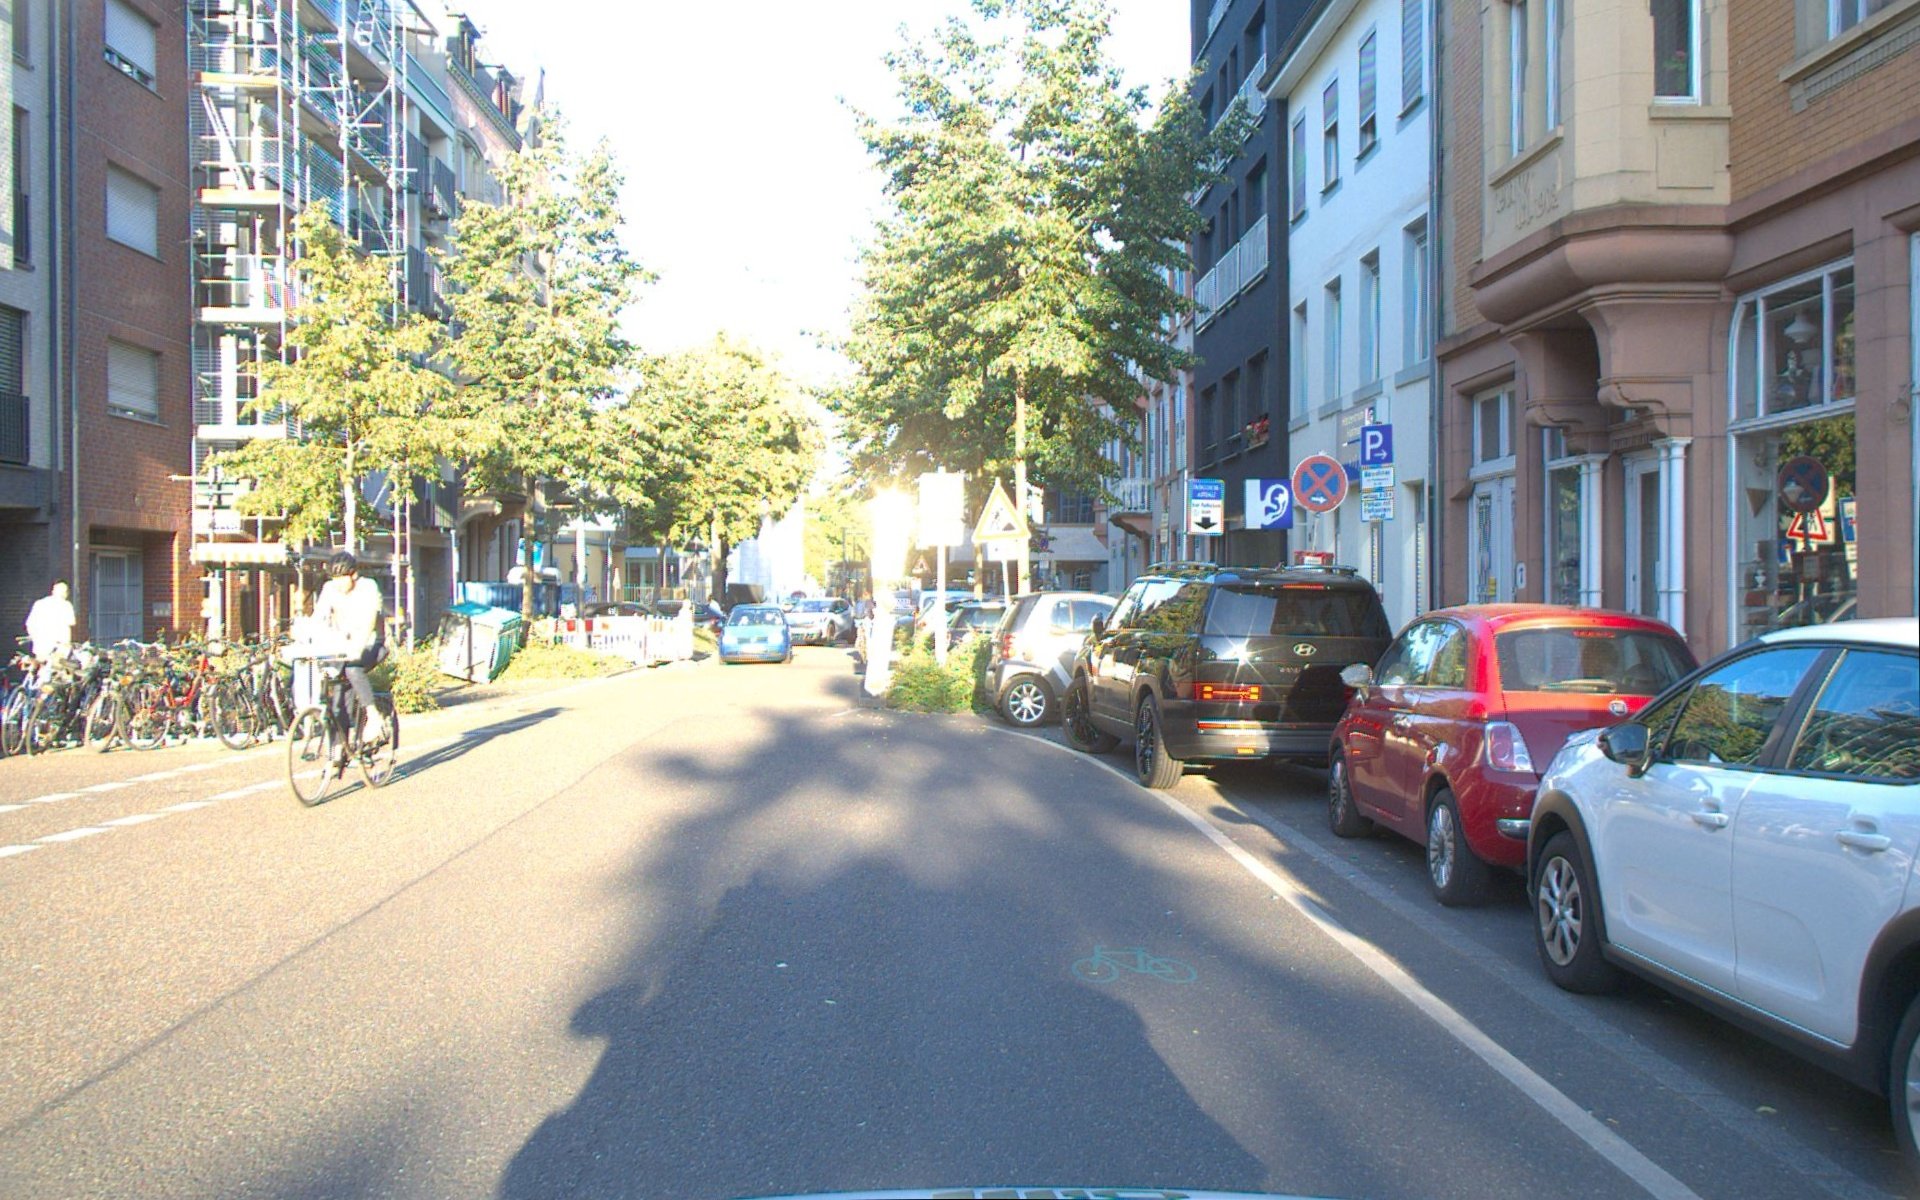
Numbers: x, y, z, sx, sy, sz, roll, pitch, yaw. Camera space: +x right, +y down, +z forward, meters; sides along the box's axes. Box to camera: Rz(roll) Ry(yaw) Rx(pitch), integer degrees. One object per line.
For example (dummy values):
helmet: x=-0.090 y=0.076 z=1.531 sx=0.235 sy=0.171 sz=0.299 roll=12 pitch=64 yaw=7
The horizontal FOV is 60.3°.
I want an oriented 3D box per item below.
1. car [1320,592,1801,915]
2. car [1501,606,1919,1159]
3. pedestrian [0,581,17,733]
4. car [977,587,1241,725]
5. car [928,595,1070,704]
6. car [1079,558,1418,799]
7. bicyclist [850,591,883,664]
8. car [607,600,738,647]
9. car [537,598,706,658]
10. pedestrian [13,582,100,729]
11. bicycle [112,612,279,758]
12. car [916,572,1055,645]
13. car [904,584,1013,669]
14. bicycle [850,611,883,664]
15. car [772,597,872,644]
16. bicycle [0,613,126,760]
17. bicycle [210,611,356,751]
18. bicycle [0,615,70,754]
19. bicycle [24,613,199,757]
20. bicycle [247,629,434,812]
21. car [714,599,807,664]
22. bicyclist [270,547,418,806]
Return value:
car: x=3.212 y=0.740 z=9.488 sx=1.555 sy=1.509 sz=3.266 roll=1 pitch=0 yaw=0
car: x=3.231 y=0.736 z=5.340 sx=1.633 sy=1.402 sz=3.801 roll=1 pitch=0 yaw=-2
pedestrian: x=-11.660 y=0.669 z=19.505 sx=0.703 sy=1.798 sz=0.692 roll=1 pitch=-1 yaw=-10
car: x=1.743 y=0.657 z=19.794 sx=2.911 sy=1.563 sz=1.431 roll=1 pitch=-1 yaw=-6
car: x=0.582 y=0.802 z=28.542 sx=1.955 sy=1.697 sz=4.504 roll=1 pitch=0 yaw=-5
car: x=2.258 y=0.586 z=14.175 sx=1.789 sy=1.725 sz=4.364 roll=1 pitch=0 yaw=-5
bicyclist: x=-2.274 y=0.656 z=40.199 sx=0.765 sy=1.726 sz=1.006 roll=-1 pitch=0 yaw=-4
car: x=-9.610 y=0.782 z=55.488 sx=4.019 sy=1.491 sz=1.889 roll=1 pitch=0 yaw=-1
car: x=-8.850 y=0.721 z=43.506 sx=4.019 sy=1.491 sz=1.889 roll=1 pitch=0 yaw=-1
pedestrian: x=-11.117 y=0.678 z=20.376 sx=0.703 sy=1.771 sz=0.737 roll=1 pitch=-1 yaw=-10
bicycle: x=-8.227 y=0.851 z=17.982 sx=0.876 sy=1.420 sz=3.158 roll=0 pitch=0 yaw=-10
car: x=0.763 y=0.231 z=47.834 sx=3.904 sy=2.049 sz=2.001 roll=0 pitch=0 yaw=2
car: x=-0.102 y=0.649 z=41.721 sx=2.222 sy=1.796 sz=4.504 roll=6 pitch=-1 yaw=-5
bicycle: x=-2.282 y=0.894 z=40.186 sx=0.765 sy=1.225 sz=2.019 roll=-1 pitch=0 yaw=-4
car: x=-4.644 y=0.691 z=56.365 sx=1.845 sy=1.506 sz=4.461 roll=1 pitch=0 yaw=18
bicycle: x=-9.728 y=0.857 z=17.663 sx=0.574 sy=1.420 sz=3.153 roll=1 pitch=0 yaw=-10
bicycle: x=-7.360 y=0.821 z=18.153 sx=0.829 sy=1.374 sz=3.179 roll=-1 pitch=0 yaw=-10
bicycle: x=-10.380 y=0.888 z=17.528 sx=0.708 sy=1.420 sz=3.145 roll=1 pitch=0 yaw=-10
bicycle: x=-9.053 y=0.853 z=17.810 sx=0.766 sy=1.397 sz=3.134 roll=1 pitch=0 yaw=-10
bicycle: x=-4.628 y=0.855 z=12.511 sx=0.765 sy=1.225 sz=2.019 roll=-1 pitch=0 yaw=-4
car: x=-4.829 y=0.727 z=40.584 sx=1.801 sy=1.466 sz=4.331 roll=-1 pitch=0 yaw=-1
bicyclist: x=-4.646 y=0.557 z=12.531 sx=0.765 sy=1.861 sz=1.006 roll=-1 pitch=0 yaw=-4
